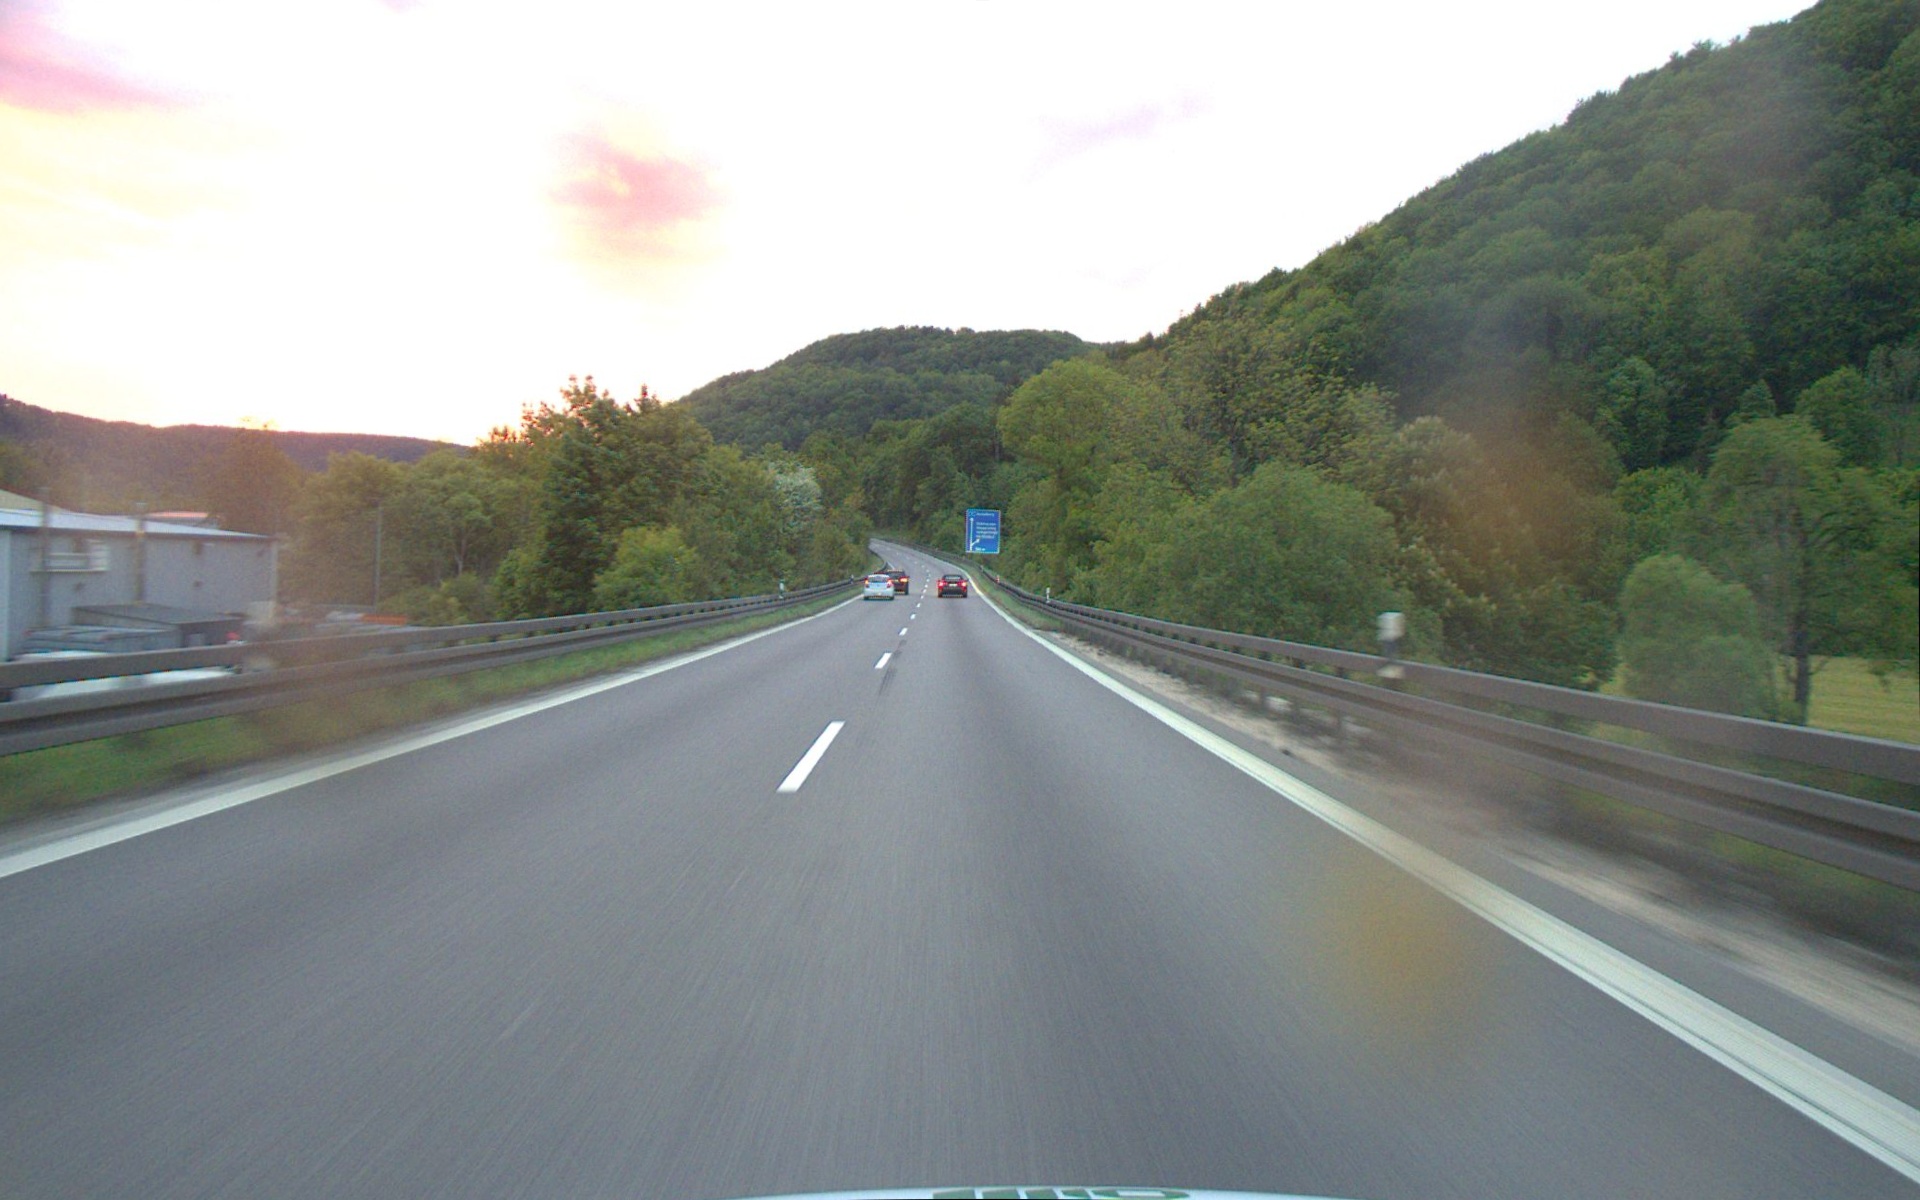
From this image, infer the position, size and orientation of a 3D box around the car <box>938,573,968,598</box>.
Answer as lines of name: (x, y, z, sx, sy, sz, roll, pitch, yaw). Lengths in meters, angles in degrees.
car: (-0.467, -0.918, 105.201, 1.840, 1.492, 4.000, 0, 2, -1)

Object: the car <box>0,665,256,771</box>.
car: (-15.096, 2.101, 29.950, 3.903, 1.723, 1.773, 1, 0, 4)

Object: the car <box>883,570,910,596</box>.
car: (-4.234, -1.135, 111.065, 1.683, 1.663, 4.000, 0, 2, -1)

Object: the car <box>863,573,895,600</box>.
car: (-4.735, -0.798, 97.148, 1.683, 1.527, 4.000, 0, 2, -1)
